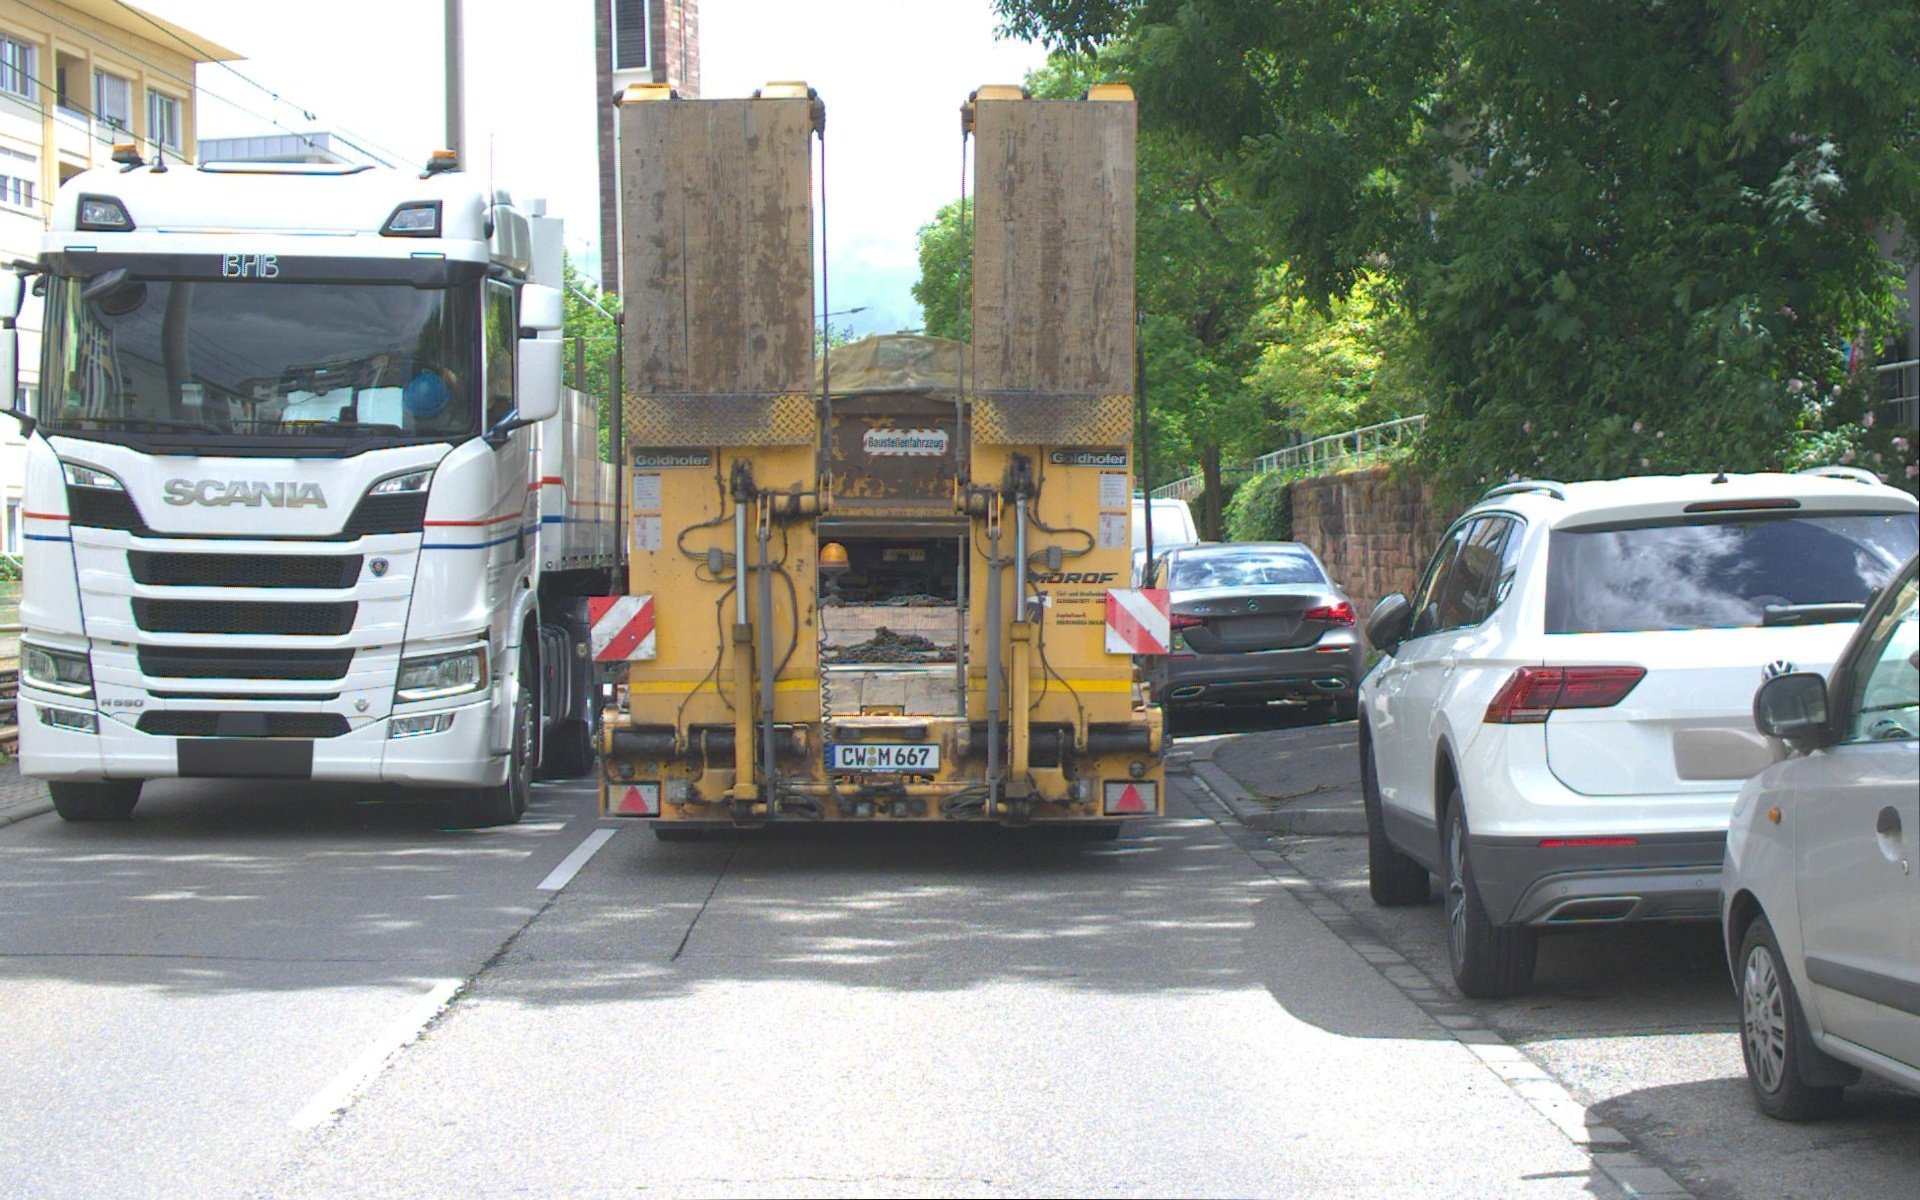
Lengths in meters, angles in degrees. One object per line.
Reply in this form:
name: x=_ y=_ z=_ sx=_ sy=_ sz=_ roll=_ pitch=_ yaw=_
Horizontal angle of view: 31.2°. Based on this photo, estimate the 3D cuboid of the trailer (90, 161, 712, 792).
trailer: x=-3.681 y=-0.868 z=26.410 sx=2.698 sy=3.568 sz=13.676 roll=0 pitch=1 yaw=-1

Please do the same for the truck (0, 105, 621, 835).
truck: x=-3.599 y=-0.710 z=19.981 sx=2.698 sy=3.568 sz=6.145 roll=0 pitch=1 yaw=-1

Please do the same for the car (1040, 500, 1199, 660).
car: x=2.065 y=-0.303 z=45.580 sx=1.799 sy=1.961 sz=4.590 roll=-2 pitch=1 yaw=-1

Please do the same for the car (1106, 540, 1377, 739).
car: x=2.192 y=0.254 z=27.851 sx=1.836 sy=1.400 sz=4.414 roll=-2 pitch=1 yaw=1

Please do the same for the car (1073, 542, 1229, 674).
car: x=2.186 y=0.059 z=40.169 sx=1.621 sy=1.400 sz=3.650 roll=-2 pitch=1 yaw=1

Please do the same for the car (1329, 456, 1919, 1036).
car: x=2.456 y=0.370 z=12.385 sx=1.824 sy=1.676 sz=4.576 roll=-1 pitch=1 yaw=1

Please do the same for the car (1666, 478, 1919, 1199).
car: x=2.768 y=0.504 z=7.515 sx=1.581 sy=1.547 sz=3.475 roll=-1 pitch=1 yaw=-3

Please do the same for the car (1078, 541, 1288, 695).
car: x=2.210 y=0.138 z=34.985 sx=1.690 sy=1.400 sz=4.069 roll=-2 pitch=1 yaw=-2

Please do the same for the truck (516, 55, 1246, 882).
truck: x=-0.396 y=-0.720 z=21.125 sx=3.124 sy=3.552 sz=12.460 roll=-1 pitch=1 yaw=-1
